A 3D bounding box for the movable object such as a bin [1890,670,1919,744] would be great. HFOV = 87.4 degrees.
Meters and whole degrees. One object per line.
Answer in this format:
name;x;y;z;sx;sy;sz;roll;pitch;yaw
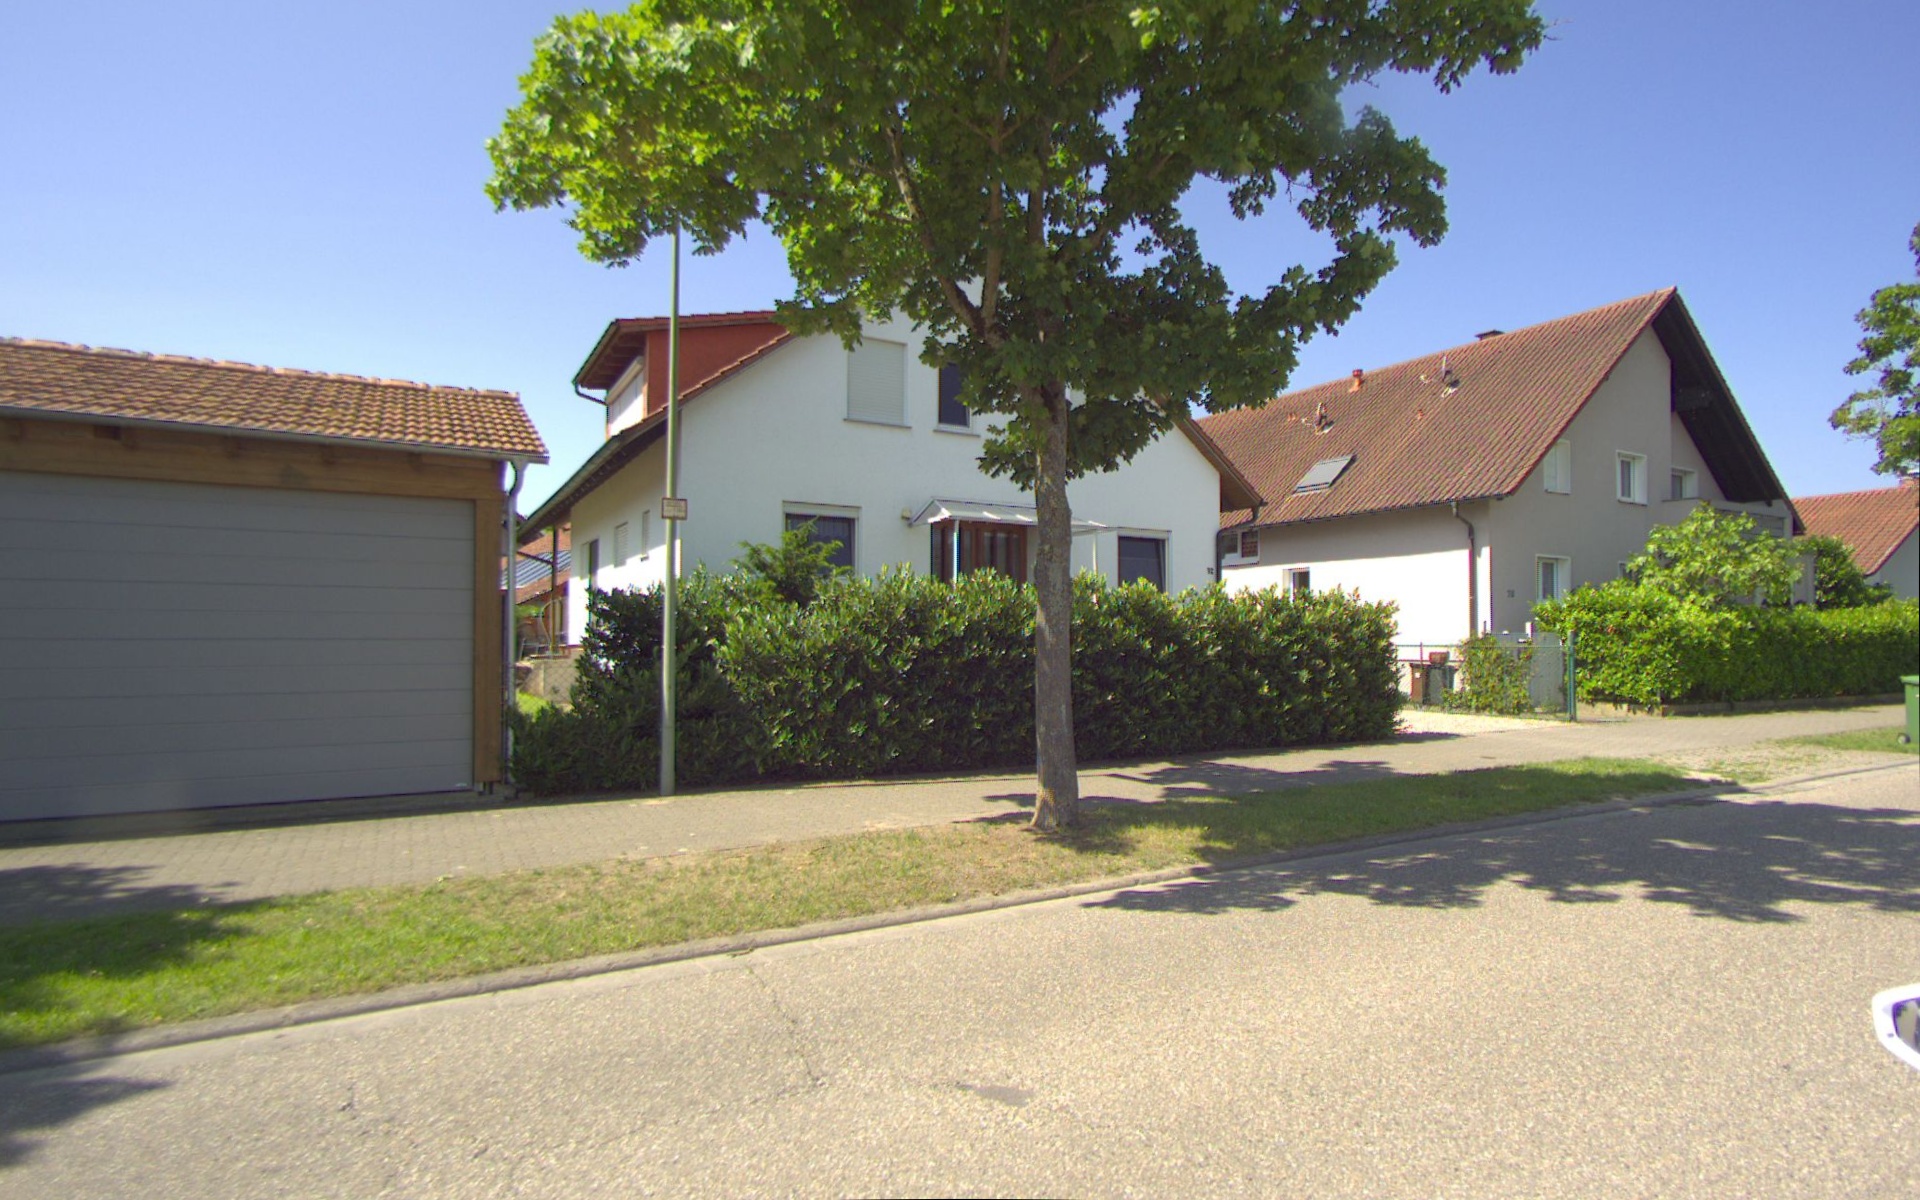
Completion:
movable object such as a bin;14.685;1.613;15.155;0.627;1.093;0.715;0;-2;-4
